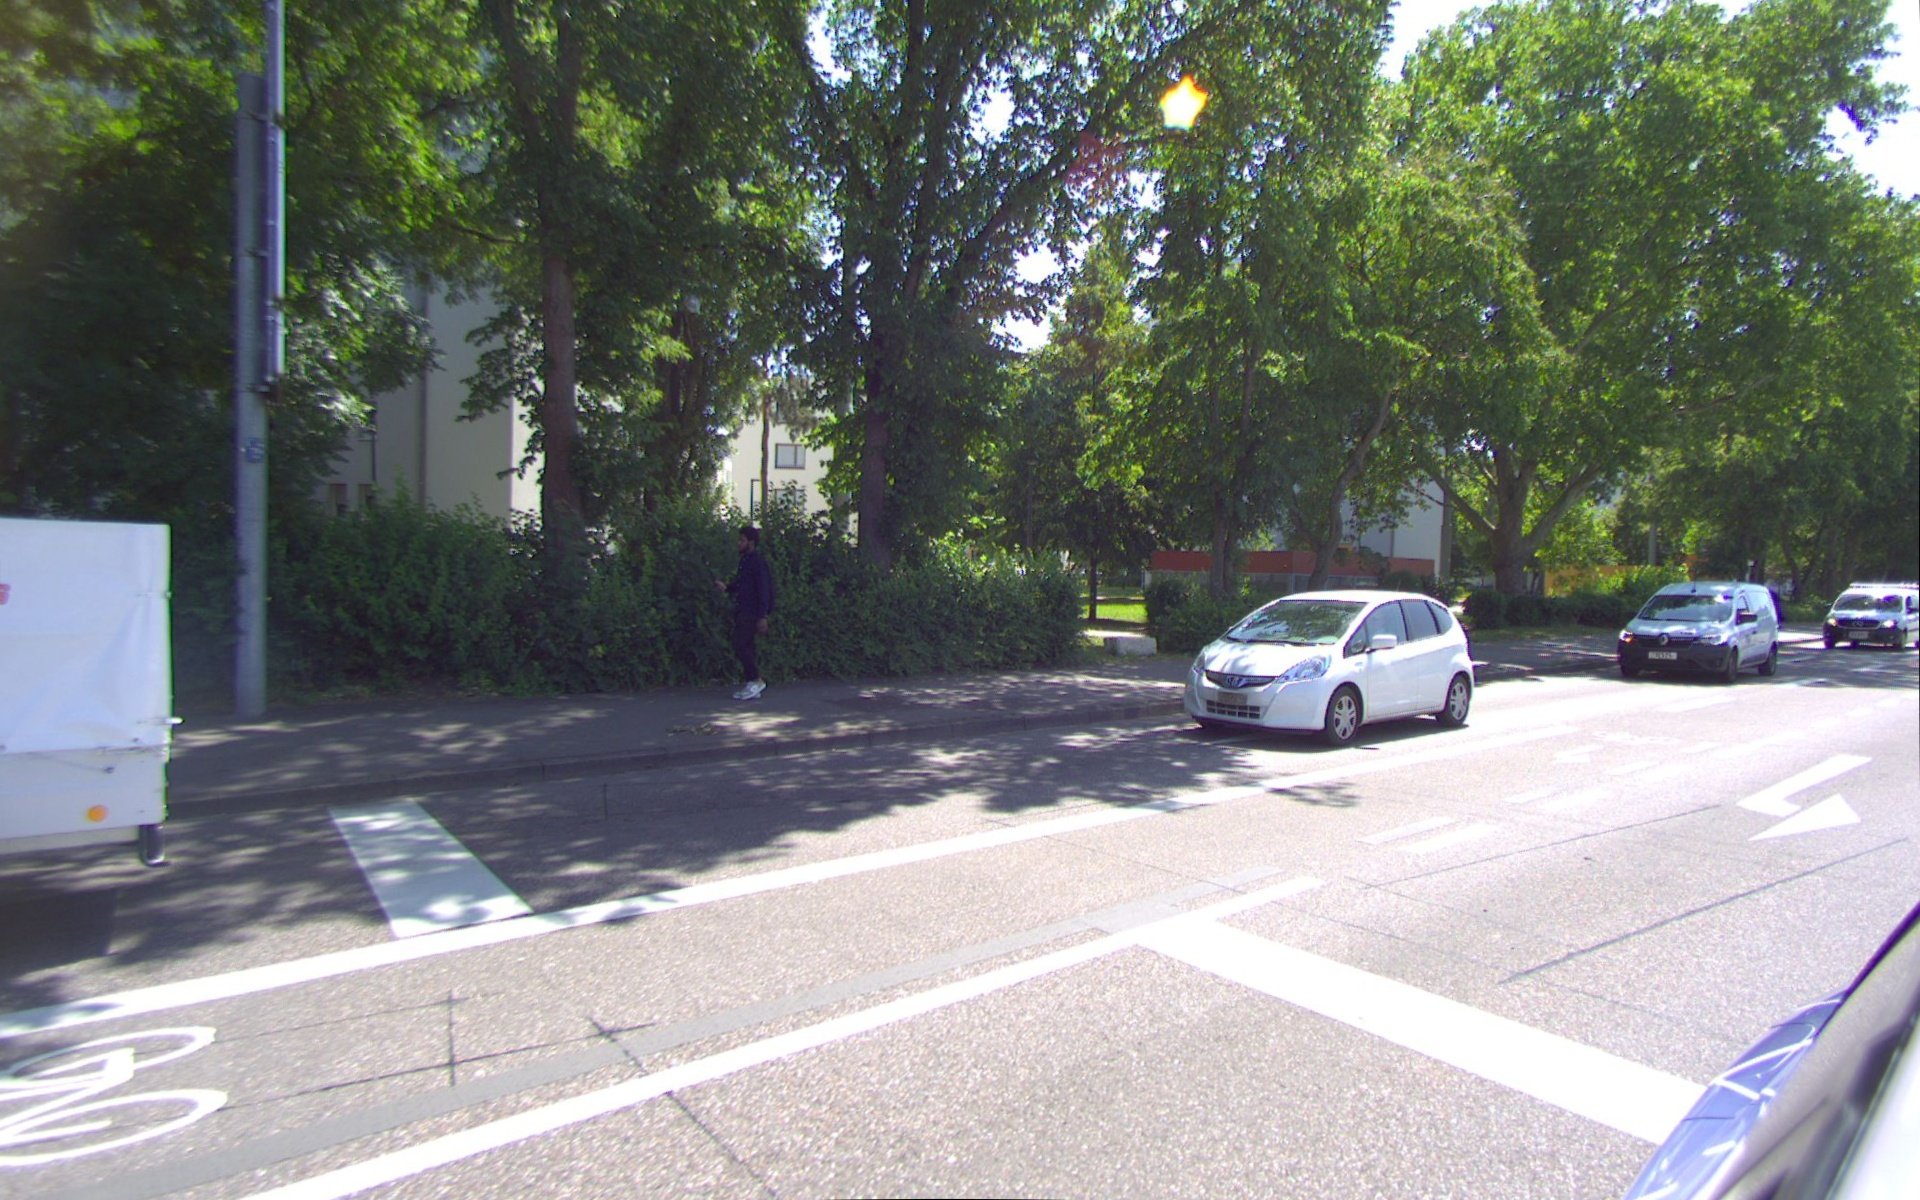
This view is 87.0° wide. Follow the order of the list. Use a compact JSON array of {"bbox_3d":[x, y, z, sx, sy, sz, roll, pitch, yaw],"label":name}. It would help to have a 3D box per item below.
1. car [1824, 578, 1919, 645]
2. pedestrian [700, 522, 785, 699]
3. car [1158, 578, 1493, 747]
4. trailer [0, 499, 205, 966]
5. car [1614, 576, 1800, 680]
[{"bbox_3d":[26.831,0.283,29.465,4.315,1.815,1.894,-1,0,-40],"label":"car"},{"bbox_3d":[-2.383,0.091,11.073,0.667,1.857,0.607,0,3,-41],"label":"pedestrian"},{"bbox_3d":[4.100,0.552,11.120,3.828,1.523,1.730,0,1,-39],"label":"car"},{"bbox_3d":[-4.532,0.466,3.618,2.886,1.675,1.407,0,2,-40],"label":"trailer"},{"bbox_3d":[14.219,0.439,19.182,4.265,1.739,1.809,-1,2,-39],"label":"car"}]
